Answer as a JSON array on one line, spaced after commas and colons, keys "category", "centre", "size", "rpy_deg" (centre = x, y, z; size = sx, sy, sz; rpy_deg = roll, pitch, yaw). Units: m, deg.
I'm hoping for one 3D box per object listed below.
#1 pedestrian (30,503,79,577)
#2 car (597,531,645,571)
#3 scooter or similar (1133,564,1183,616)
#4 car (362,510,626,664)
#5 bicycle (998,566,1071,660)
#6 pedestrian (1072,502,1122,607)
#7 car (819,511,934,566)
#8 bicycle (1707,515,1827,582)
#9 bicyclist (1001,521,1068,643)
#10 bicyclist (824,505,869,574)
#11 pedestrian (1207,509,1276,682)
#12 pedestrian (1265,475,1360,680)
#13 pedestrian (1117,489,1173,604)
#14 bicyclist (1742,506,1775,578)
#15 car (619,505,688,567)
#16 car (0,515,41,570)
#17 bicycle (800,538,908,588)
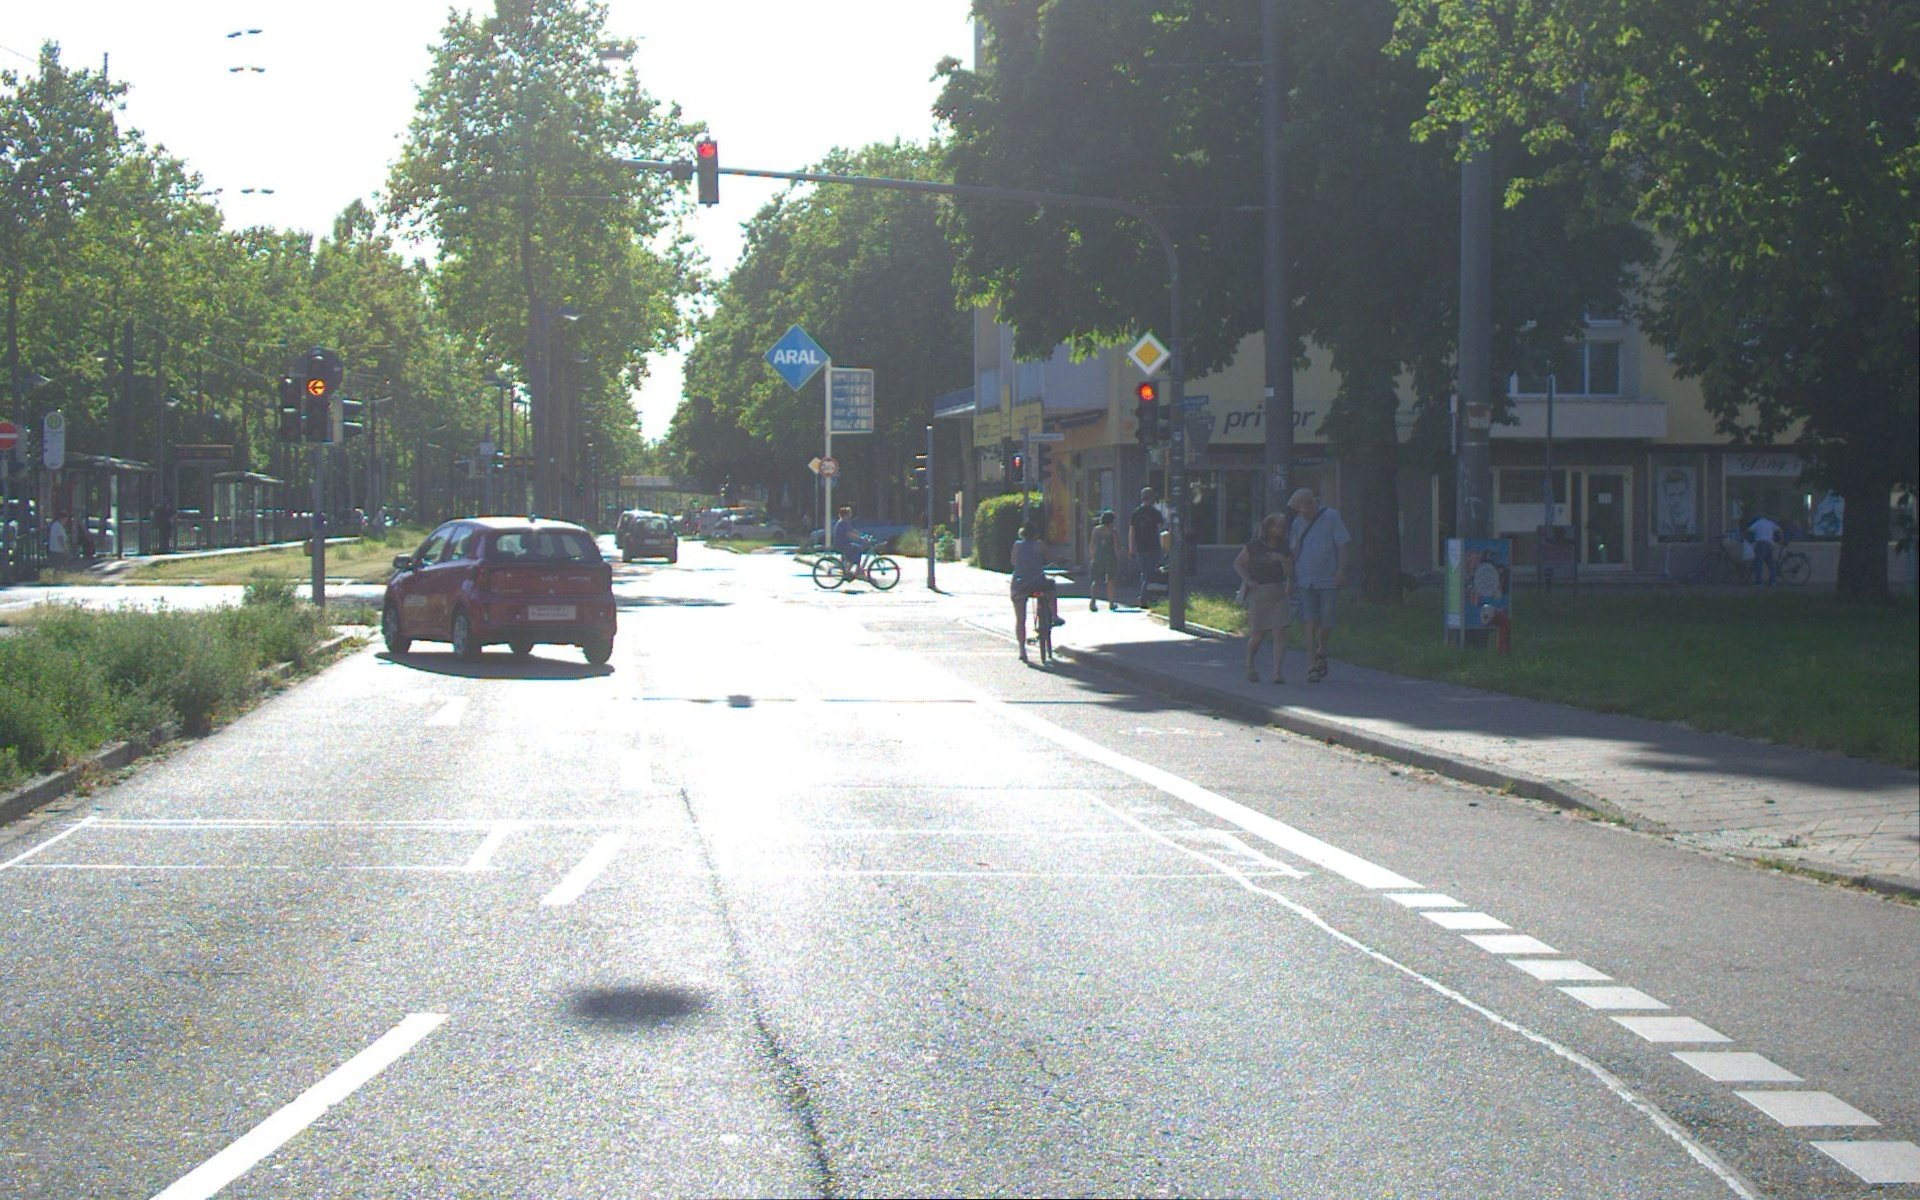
[{"category": "pedestrian", "centre": [-19.904, -1.319, 75.571], "size": [0.890, 1.601, 0.613], "rpy_deg": [2, 1, -5]}, {"category": "car", "centre": [-14.611, -2.129, 148.058], "size": [1.893, 1.605, 4.501], "rpy_deg": [2, 1, -7]}, {"category": "scooter or similar", "centre": [2.906, -0.150, 50.538], "size": [0.597, 0.735, 0.681], "rpy_deg": [2, 1, -6]}, {"category": "car", "centre": [-4.996, -0.171, 36.480], "size": [1.694, 1.503, 3.700], "rpy_deg": [1, 1, -25]}, {"category": "bicycle", "centre": [0.813, 0.133, 38.033], "size": [0.648, 0.969, 1.804], "rpy_deg": [2, 1, -3]}, {"category": "pedestrian", "centre": [2.041, -0.678, 51.066], "size": [0.647, 1.517, 0.496], "rpy_deg": [2, 1, 7]}, {"category": "car", "centre": [-3.053, -2.256, 126.818], "size": [3.988, 1.853, 2.011], "rpy_deg": [2, 1, 5]}, {"category": "bicycle", "centre": [17.914, -1.147, 76.346], "size": [2.469, 1.394, 0.608], "rpy_deg": [2, 1, -6]}, {"category": "bicyclist", "centre": [0.820, -0.202, 38.102], "size": [0.638, 1.318, 0.803], "rpy_deg": [2, 1, -3]}, {"category": "bicyclist", "centre": [-2.478, -1.320, 75.044], "size": [0.769, 1.466, 0.897], "rpy_deg": [-1, 2, 12]}, {"category": "pedestrian", "centre": [2.530, -0.046, 30.939], "size": [0.529, 1.523, 0.627], "rpy_deg": [-2, 1, 0]}, {"category": "pedestrian", "centre": [3.161, -0.211, 30.883], "size": [0.703, 1.783, 0.694], "rpy_deg": [-3, 2, 0]}, {"category": "pedestrian", "centre": [2.758, -0.800, 51.112], "size": [0.730, 1.676, 0.532], "rpy_deg": [2, 1, 7]}, {"category": "bicyclist", "centre": [17.577, -1.277, 75.699], "size": [0.527, 1.562, 0.464], "rpy_deg": [2, 1, -8]}, {"category": "car", "centre": [-9.742, -2.034, 109.121], "size": [1.968, 1.853, 4.001], "rpy_deg": [2, 1, -7]}, {"category": "car", "centre": [-25.427, -1.535, 90.748], "size": [1.566, 1.397, 3.916], "rpy_deg": [2, 1, -5]}, {"category": "bicycle", "centre": [-2.308, -0.817, 75.054], "size": [2.252, 0.984, 0.788], "rpy_deg": [1, 6, 10]}]
